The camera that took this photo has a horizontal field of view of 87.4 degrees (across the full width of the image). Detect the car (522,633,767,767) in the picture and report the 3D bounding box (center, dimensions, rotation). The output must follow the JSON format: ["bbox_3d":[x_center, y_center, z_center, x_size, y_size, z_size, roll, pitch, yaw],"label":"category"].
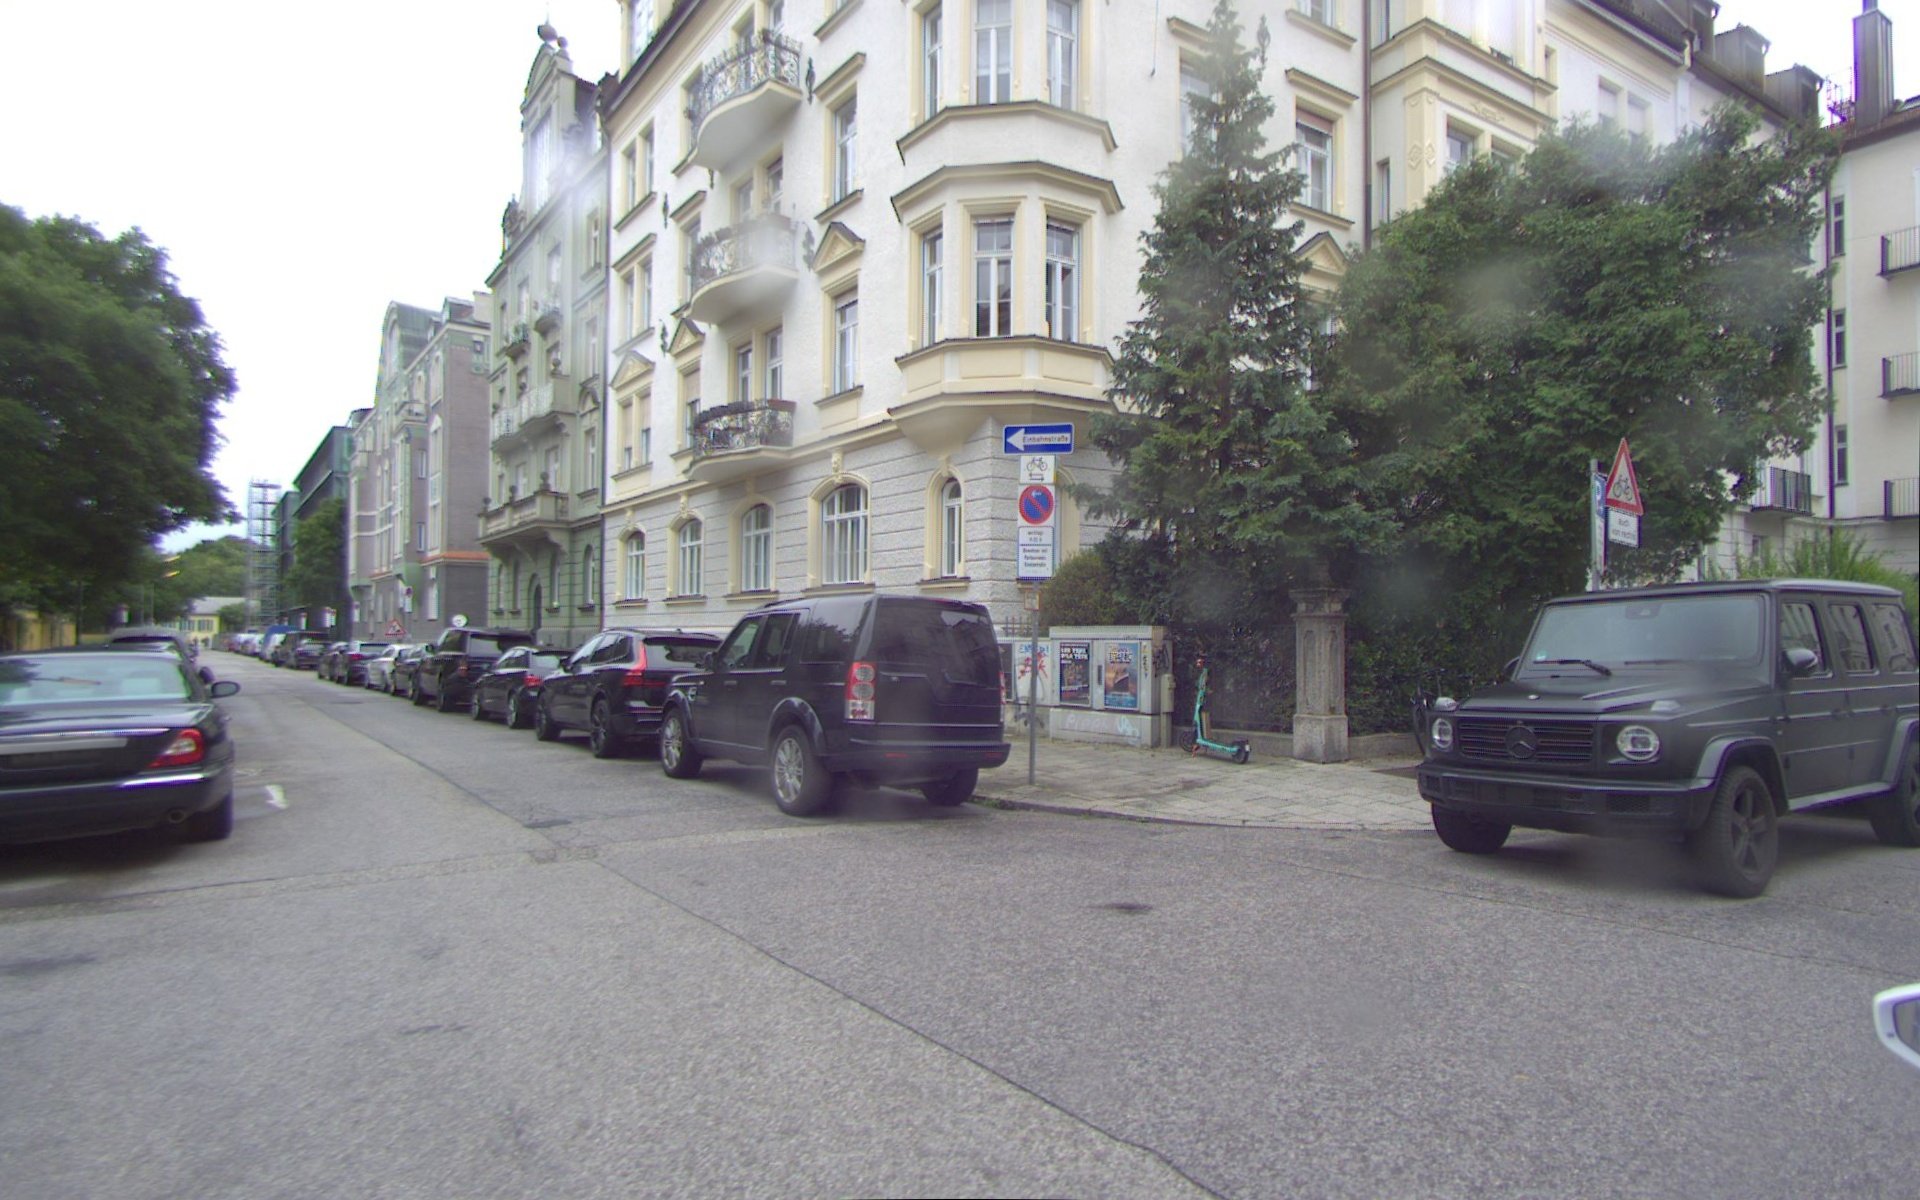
[{"bbox_3d":[-4.616,1.310,14.243,1.916,1.586,4.475,4,-4,-36],"label":"car"}]

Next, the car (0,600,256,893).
[{"bbox_3d":[-6.956,0.965,8.124,1.888,1.766,4.689,1,-3,-37],"label":"car"}]

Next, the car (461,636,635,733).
[{"bbox_3d":[-7.814,1.528,18.809,1.917,1.586,4.388,5,-5,-36],"label":"car"}]

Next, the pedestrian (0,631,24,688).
[{"bbox_3d":[-28.974,1.803,30.430,0.777,1.712,0.710,2,-3,-39],"label":"pedestrian"}]

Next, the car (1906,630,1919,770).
[{"bbox_3d":[13.779,1.183,12.475,4.434,1.669,1.797,1,-3,-31],"label":"car"}]

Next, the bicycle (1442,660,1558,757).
[{"bbox_3d":[6.899,1.353,12.812,1.768,1.111,0.486,0,-1,-32],"label":"bicycle"}]

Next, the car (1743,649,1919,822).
[{"bbox_3d":[9.525,1.214,9.820,3.875,1.449,1.635,1,-5,-32],"label":"car"}]

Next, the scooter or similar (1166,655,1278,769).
[{"bbox_3d":[3.064,1.278,11.856,0.453,1.195,1.423,-1,0,-25],"label":"scooter or similar"}]

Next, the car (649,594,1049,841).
[{"bbox_3d":[-1.353,0.986,10.088,2.036,1.882,4.475,1,-3,-37],"label":"car"}]

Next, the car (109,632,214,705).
[{"bbox_3d":[-20.273,1.671,25.643,1.814,1.706,4.199,1,-2,-35],"label":"car"}]

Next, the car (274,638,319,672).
[{"bbox_3d":[-42.171,3.450,63.808,1.983,2.040,3.955,2,-3,-39],"label":"car"}]

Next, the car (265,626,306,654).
[{"bbox_3d":[-47.520,2.806,70.718,1.983,1.940,3.955,2,-3,-39],"label":"car"}]

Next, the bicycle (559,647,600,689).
[{"bbox_3d":[-11.153,1.975,29.404,0.533,1.161,1.935,1,-2,-39],"label":"bicycle"}]

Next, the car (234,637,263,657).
[{"bbox_3d":[-71.920,4.724,101.549,1.984,2.040,3.953,2,-3,-41],"label":"car"}]

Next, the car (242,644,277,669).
[{"bbox_3d":[-58.761,4.710,84.233,1.984,2.040,3.953,2,-3,-41],"label":"car"}]

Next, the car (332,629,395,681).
[{"bbox_3d":[-24.809,2.261,41.736,1.865,2.040,3.960,2,-2,-36],"label":"car"}]

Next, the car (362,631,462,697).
[{"bbox_3d":[-16.913,1.933,30.895,2.036,1.881,4.475,3,-4,-36],"label":"car"}]

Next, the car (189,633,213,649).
[{"bbox_3d":[-94.420,5.122,124.910,2.052,1.845,4.327,5,-5,-39],"label":"car"}]

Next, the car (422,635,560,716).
[{"bbox_3d":[-10.510,1.643,22.368,1.917,1.616,4.198,5,-5,-36],"label":"car"}]

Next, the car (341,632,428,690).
[{"bbox_3d":[-19.958,2.095,34.756,2.036,1.881,4.475,3,-4,-36],"label":"car"}]

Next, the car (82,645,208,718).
[{"bbox_3d":[-17.617,1.684,21.890,1.814,1.403,4.199,1,-3,-35],"label":"car"}]

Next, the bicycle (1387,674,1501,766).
[{"bbox_3d":[5.869,1.426,12.160,1.619,0.964,0.448,-1,-1,-33],"label":"bicycle"}]

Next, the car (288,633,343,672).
[{"bbox_3d":[-32.712,2.630,50.929,2.036,1.882,4.474,1,-2,-37],"label":"car"}]

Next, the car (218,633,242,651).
[{"bbox_3d":[-85.132,4.904,117.099,1.984,2.040,3.953,2,-3,-41],"label":"car"}]

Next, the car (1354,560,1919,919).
[{"bbox_3d":[5.269,0.830,7.415,4.761,1.911,1.903,2,-3,-31],"label":"car"}]

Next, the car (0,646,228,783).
[{"bbox_3d":[-10.531,1.303,12.810,1.835,1.403,4.199,1,-3,-35],"label":"car"}]
